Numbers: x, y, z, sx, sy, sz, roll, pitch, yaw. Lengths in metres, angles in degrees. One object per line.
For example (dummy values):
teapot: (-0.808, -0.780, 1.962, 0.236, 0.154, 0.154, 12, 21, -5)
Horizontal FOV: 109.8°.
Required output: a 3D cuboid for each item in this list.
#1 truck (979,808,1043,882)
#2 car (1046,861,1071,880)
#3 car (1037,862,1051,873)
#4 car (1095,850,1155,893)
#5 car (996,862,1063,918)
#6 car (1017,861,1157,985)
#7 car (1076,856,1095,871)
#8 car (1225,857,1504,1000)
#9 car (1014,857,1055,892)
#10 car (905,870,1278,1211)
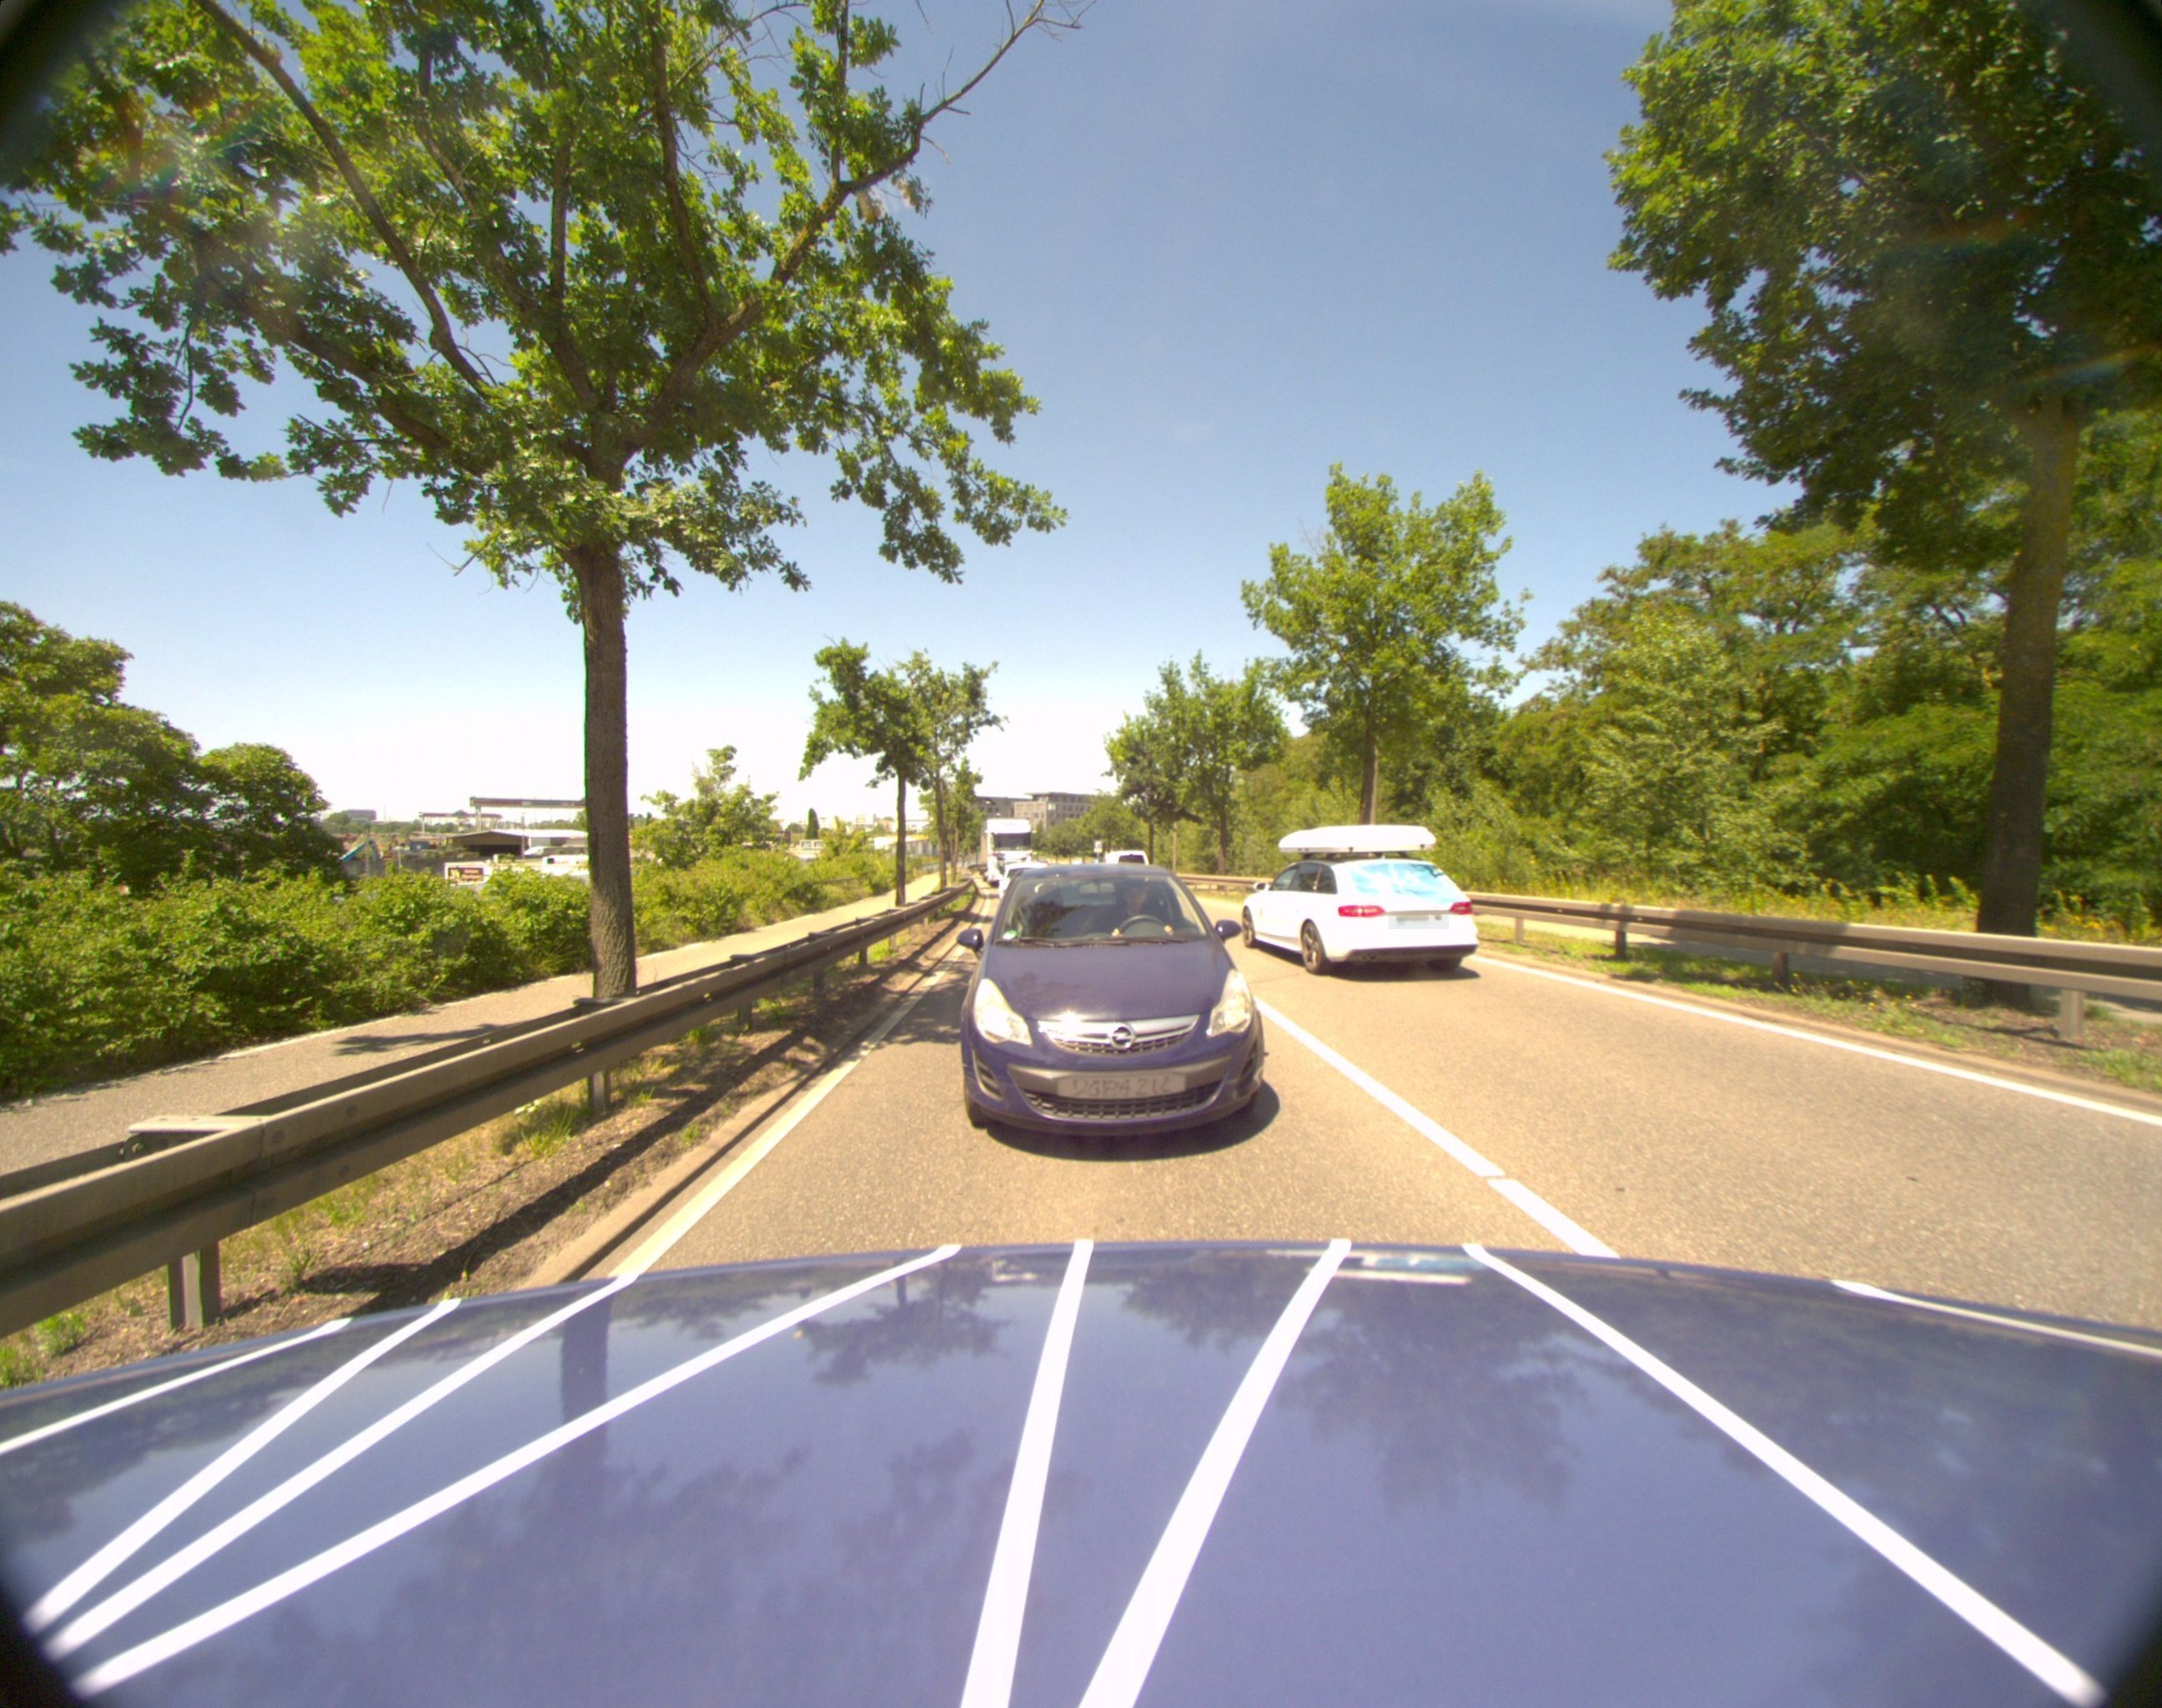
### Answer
truck: (-5.134, -0.524, 51.978, 3.073, 4.146, 16.896, -2, 0, -9)
car: (-1.822, 1.302, 61.758, 1.561, 1.364, 3.885, -2, 0, -8)
car: (-7.044, 2.550, 144.580, 1.779, 2.002, 4.002, -2, 0, 9)
car: (1.886, 0.728, 33.818, 1.751, 1.753, 4.385, -2, 0, -8)
car: (-1.529, 0.989, 22.672, 1.781, 1.398, 3.998, -2, 0, -4)
car: (0.075, 0.925, 11.898, 1.780, 1.498, 3.896, -2, 0, 0)
car: (0.554, 1.070, 88.600, 1.753, 1.546, 4.128, -2, 0, 6)
car: (3.461, 0.801, 10.335, 1.824, 1.413, 4.464, -2, 0, -4)
car: (-2.349, 0.953, 37.792, 1.781, 1.569, 3.997, -2, 0, -6)
car: (0.017, 0.921, 5.522, 1.720, 1.455, 3.837, -2, 0, -1)
